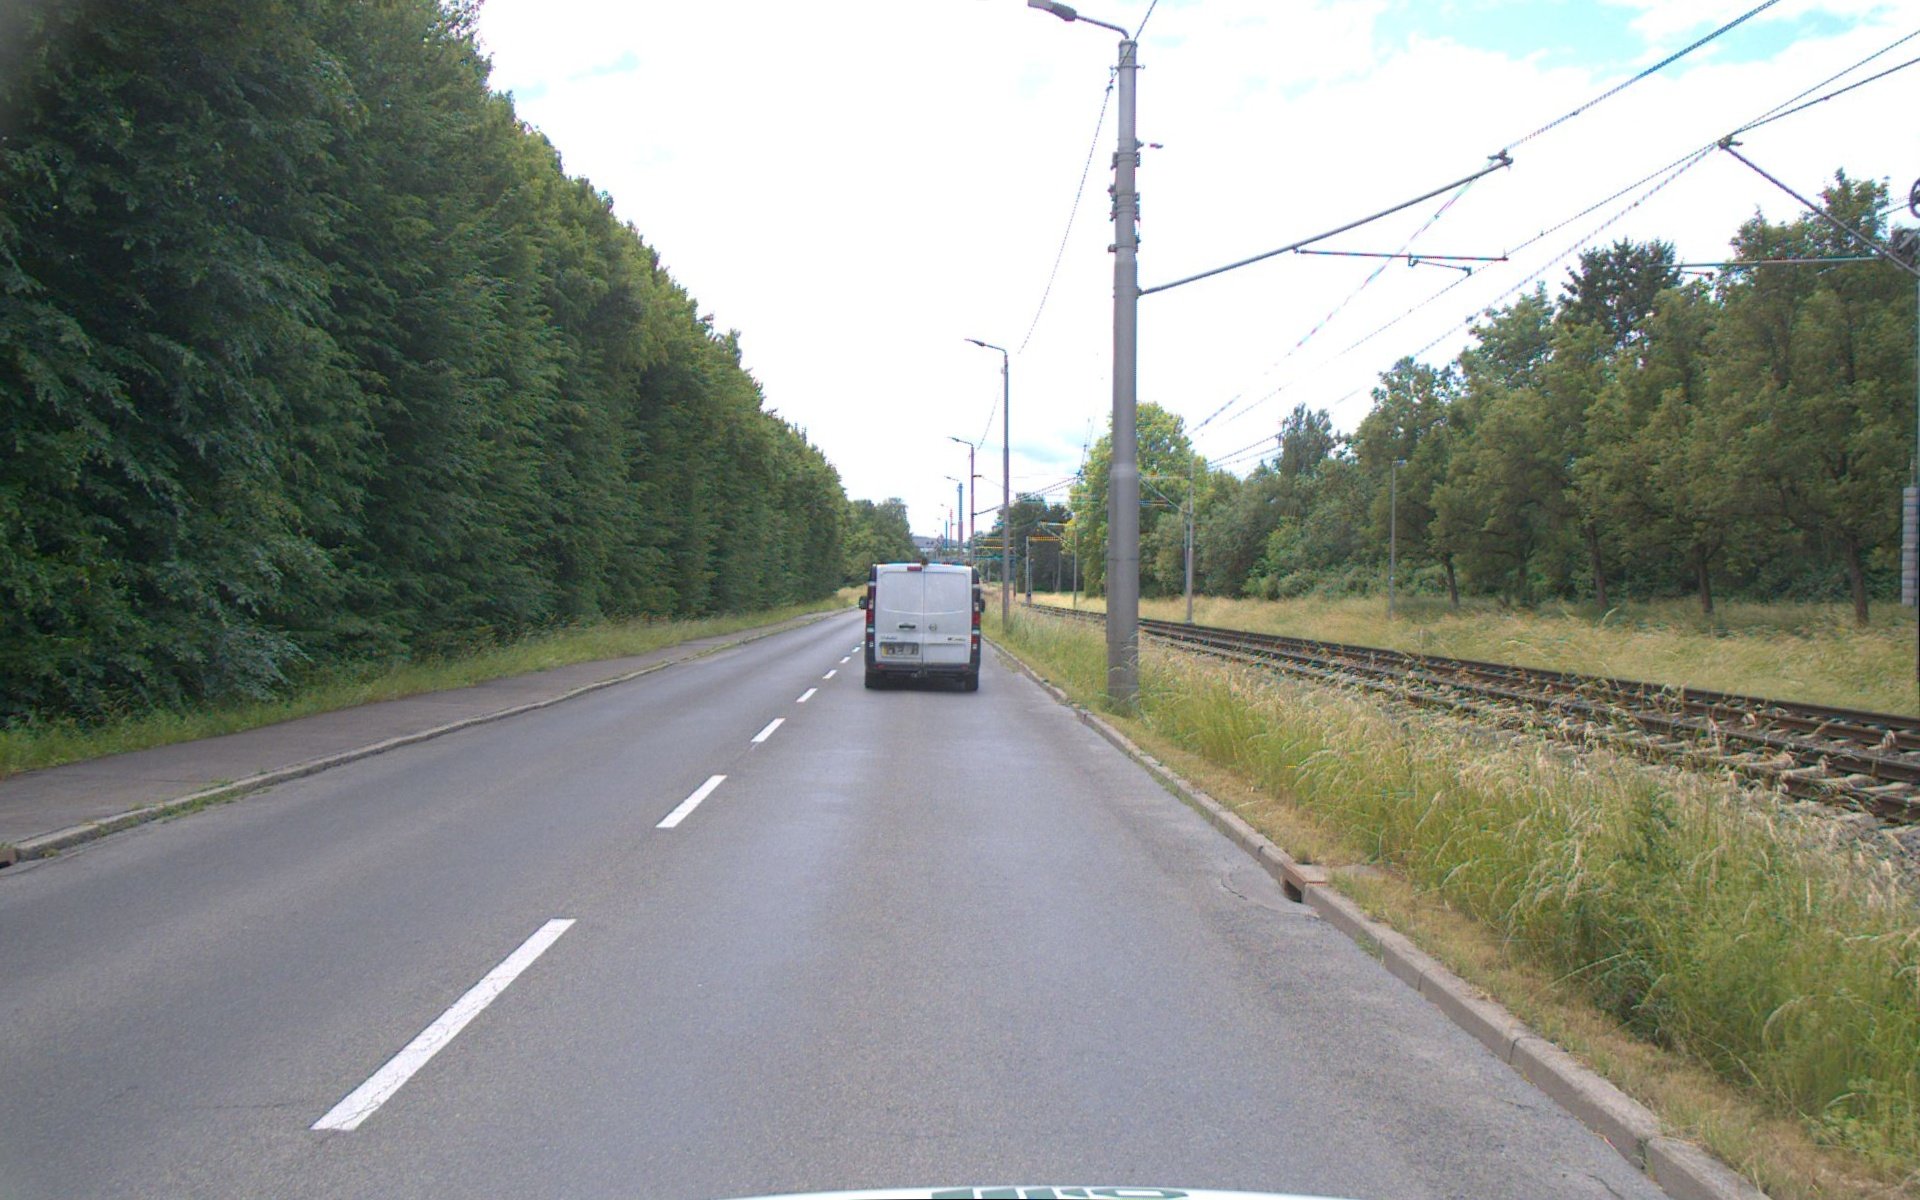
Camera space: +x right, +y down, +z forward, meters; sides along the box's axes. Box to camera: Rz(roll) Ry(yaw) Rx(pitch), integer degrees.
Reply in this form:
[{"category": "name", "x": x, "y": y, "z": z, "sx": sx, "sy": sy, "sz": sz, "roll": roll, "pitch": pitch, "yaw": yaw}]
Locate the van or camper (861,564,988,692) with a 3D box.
[{"category": "van or camper", "x": -0.641, "y": 0.421, "z": 27.205, "sx": 1.903, "sy": 1.930, "sz": 4.282, "roll": 1, "pitch": 0, "yaw": -3}]
